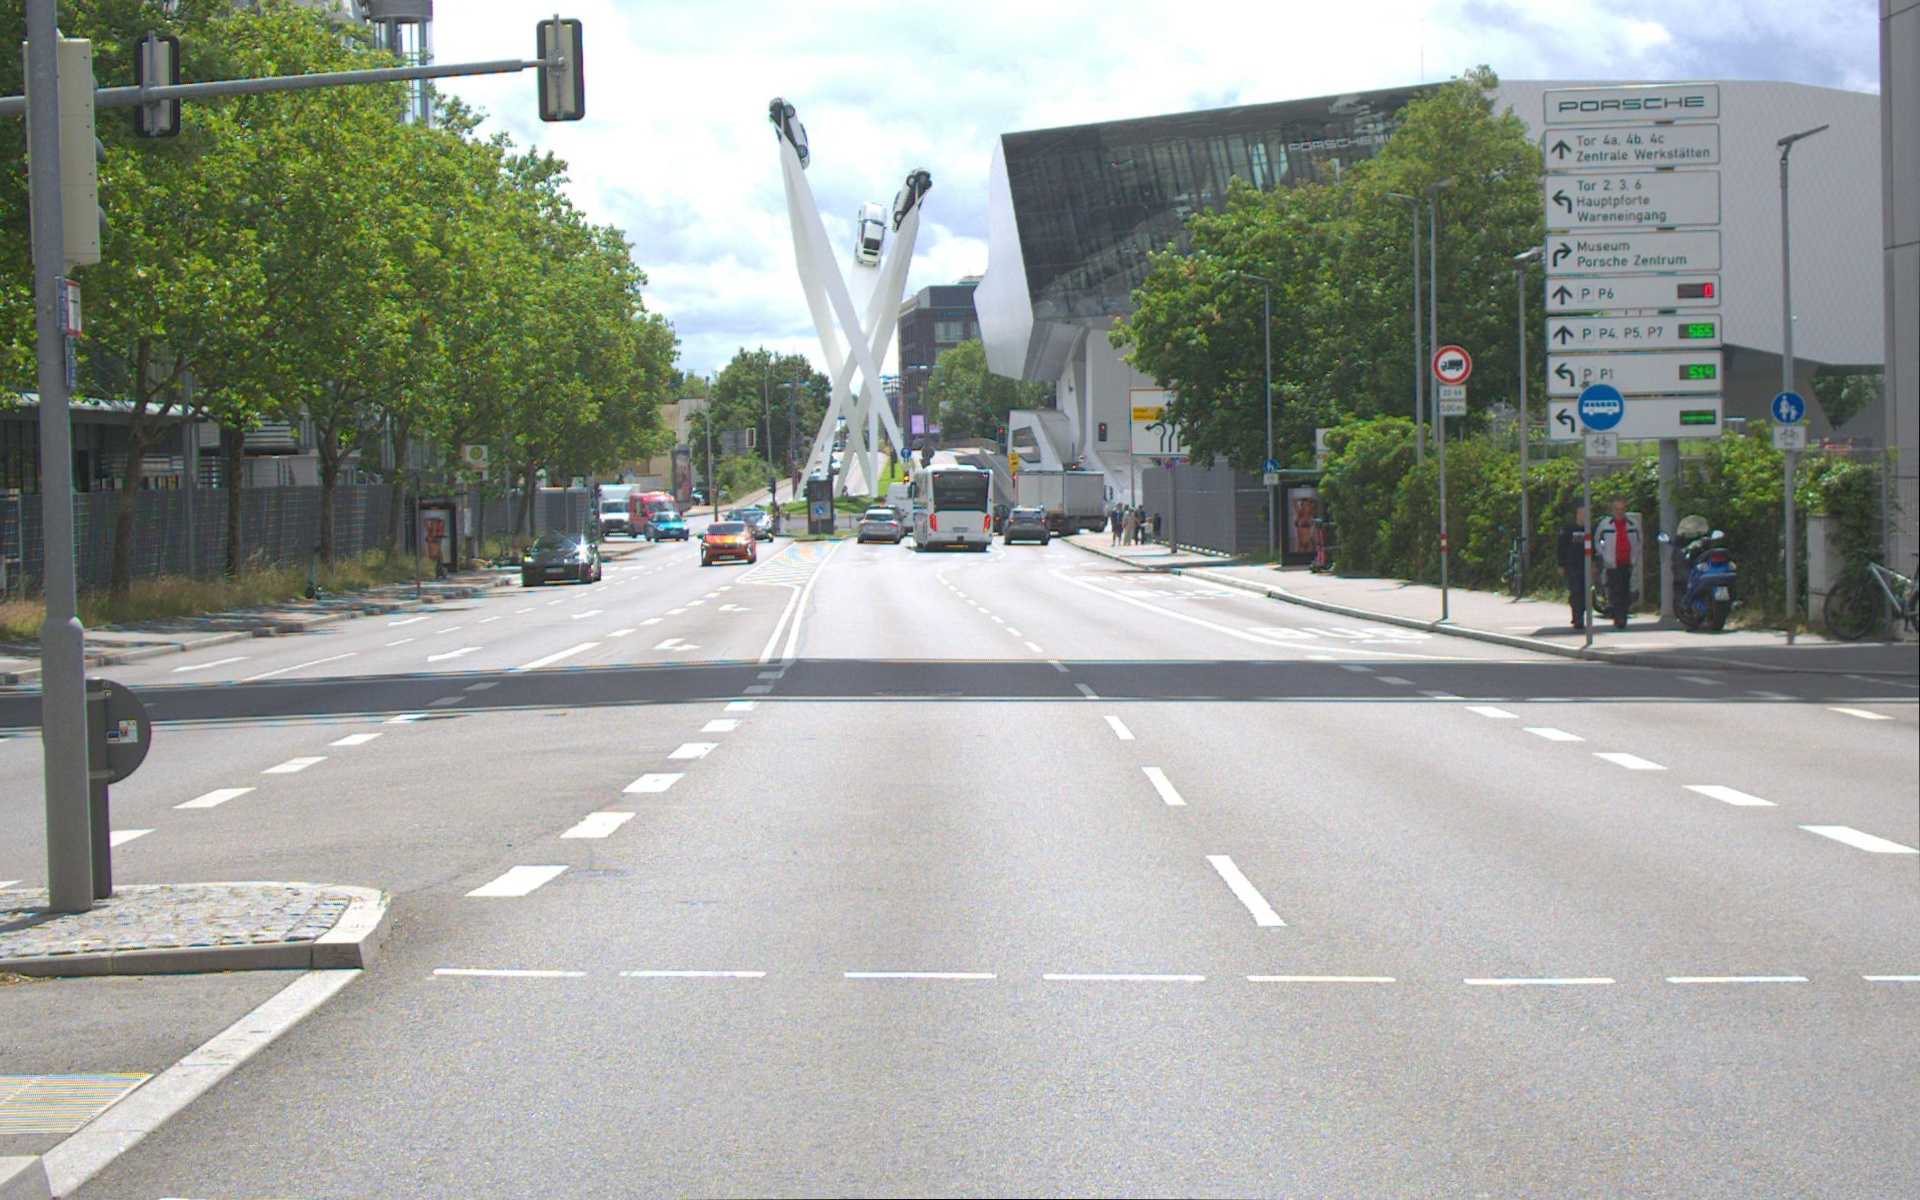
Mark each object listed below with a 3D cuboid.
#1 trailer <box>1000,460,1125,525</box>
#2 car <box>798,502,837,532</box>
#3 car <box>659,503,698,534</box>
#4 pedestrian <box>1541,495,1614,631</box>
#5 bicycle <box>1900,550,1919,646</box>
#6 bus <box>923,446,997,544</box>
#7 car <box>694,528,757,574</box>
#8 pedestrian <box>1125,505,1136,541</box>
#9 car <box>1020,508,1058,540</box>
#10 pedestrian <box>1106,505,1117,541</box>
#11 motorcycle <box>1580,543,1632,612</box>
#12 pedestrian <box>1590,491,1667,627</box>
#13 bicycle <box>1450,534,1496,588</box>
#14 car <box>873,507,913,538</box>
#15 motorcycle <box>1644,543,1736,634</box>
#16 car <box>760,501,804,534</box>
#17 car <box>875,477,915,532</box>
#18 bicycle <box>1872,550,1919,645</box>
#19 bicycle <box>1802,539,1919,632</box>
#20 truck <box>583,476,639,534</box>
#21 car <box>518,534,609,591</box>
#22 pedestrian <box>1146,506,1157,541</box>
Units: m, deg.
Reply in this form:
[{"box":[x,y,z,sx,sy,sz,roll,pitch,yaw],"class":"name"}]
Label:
[{"box":[5.230,-5.326,172.090,3.322,2.984,10.366,1,1,19],"class":"trailer"},{"box":[-6.459,-3.762,155.753,1.557,1.269,3.701,-3,1,0],"class":"car"},{"box":[-14.360,-4.156,175.610,1.797,1.568,4.001,0,1,-2],"class":"car"},{"box":[8.329,-0.506,46.403,0.641,1.787,0.712,-3,1,-16],"class":"pedestrian"},{"box":[11.772,-0.007,38.802,2.191,1.083,0.476,1,1,35],"class":"bicycle"},{"box":[0.018,-4.078,134.846,2.787,3.673,6.943,1,1,0],"class":"bus"},{"box":[-7.767,-1.627,114.247,1.769,1.415,3.701,-3,1,0],"class":"car"},{"box":[6.823,-3.084,137.579,0.386,1.416,0.423,1,0,0],"class":"pedestrian"},{"box":[3.356,-3.246,146.133,1.557,1.269,3.701,-3,1,1],"class":"car"},{"box":[6.086,-3.082,137.936,0.386,1.416,0.423,1,0,0],"class":"pedestrian"},{"box":[9.764,-0.342,52.003,0.457,1.019,1.912,1,1,1],"class":"motorcycle"},{"box":[9.026,-0.560,46.435,0.691,1.787,0.712,-3,1,-16],"class":"pedestrian"},{"box":[9.737,-0.740,65.261,0.418,1.019,1.913,1,1,-5],"class":"bicycle"},{"box":[-2.891,-3.342,148.662,1.557,1.269,3.701,-3,1,1],"class":"car"},{"box":[9.544,-0.163,45.020,0.418,1.162,1.957,1,1,-11],"class":"motorcycle"},{"box":[-8.187,-3.787,158.591,1.769,1.415,3.701,-3,1,0],"class":"car"},{"box":[-3.249,-4.749,171.334,1.843,2.614,4.000,1,1,-3],"class":"car"},{"box":[11.659,-0.015,39.536,2.222,1.083,0.476,1,1,35],"class":"bicycle"},{"box":[11.168,-0.173,40.866,2.222,1.083,0.476,1,1,35],"class":"bicycle"},{"box":[-21.170,-5.732,208.704,2.591,3.312,7.079,1,1,0],"class":"truck"},{"box":[-11.176,-1.080,97.170,1.917,1.483,4.772,-3,1,0],"class":"car"},{"box":[7.705,-3.069,138.428,0.386,1.416,0.423,1,0,0],"class":"pedestrian"}]
